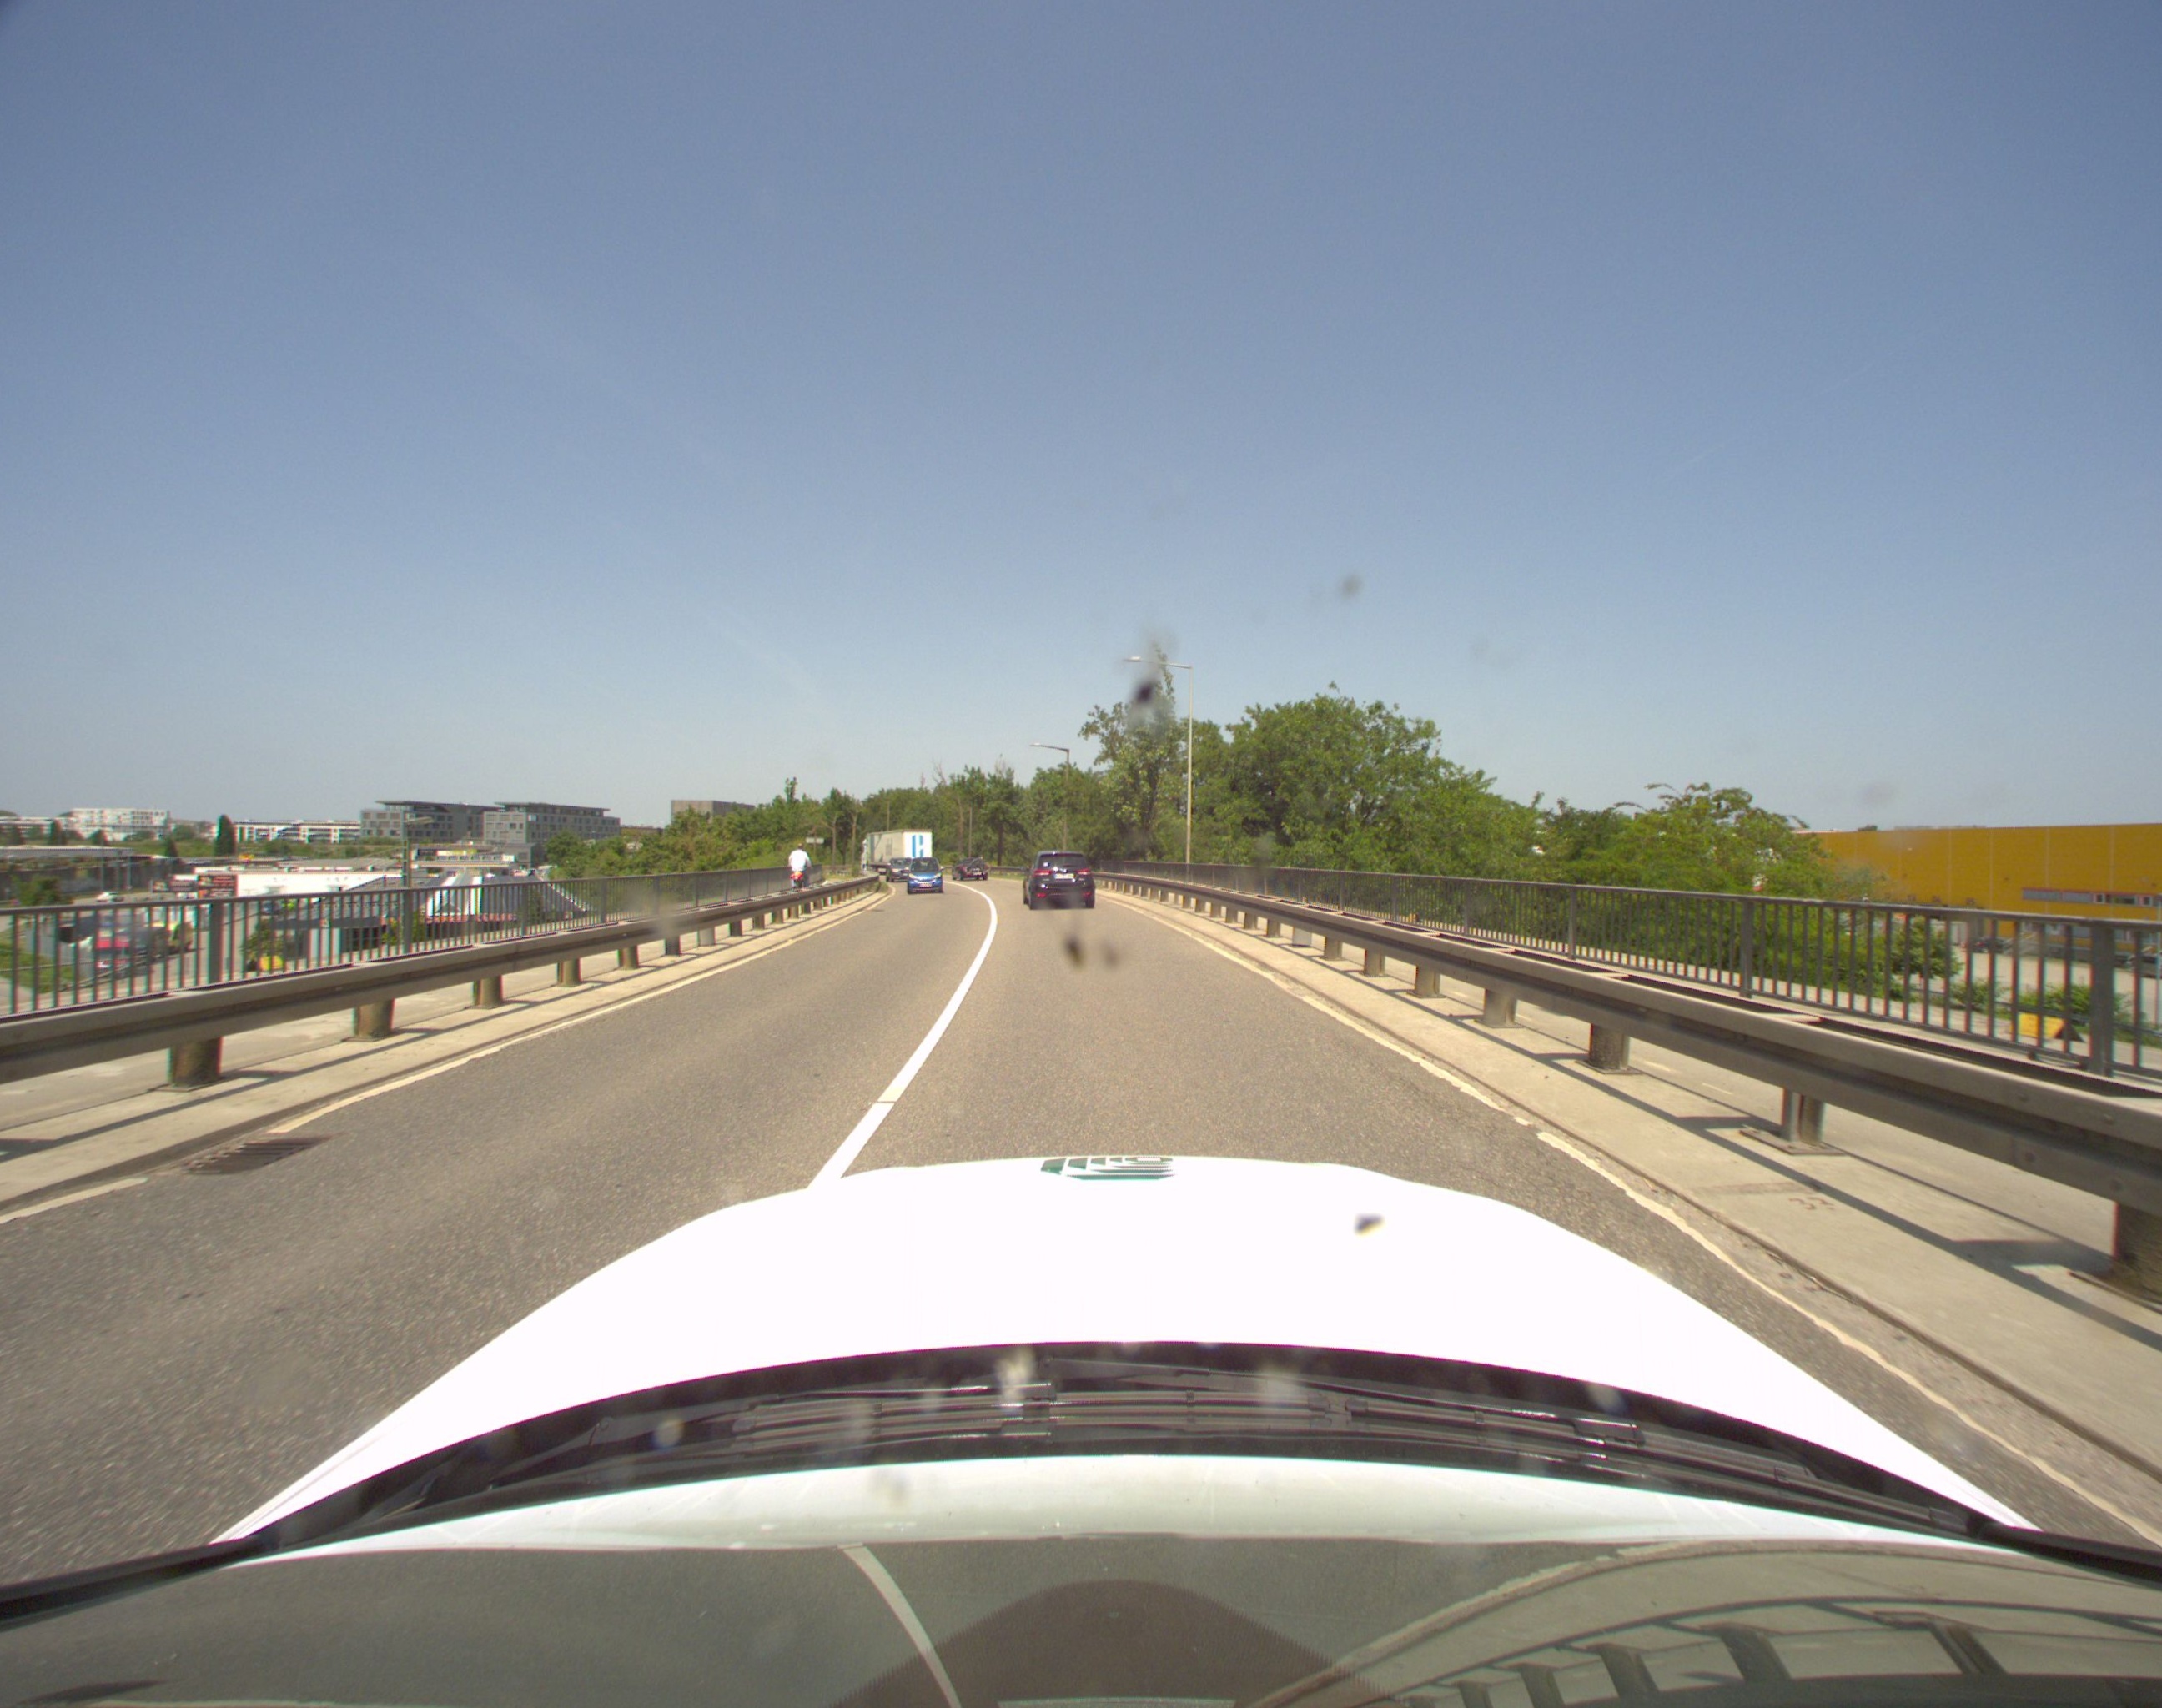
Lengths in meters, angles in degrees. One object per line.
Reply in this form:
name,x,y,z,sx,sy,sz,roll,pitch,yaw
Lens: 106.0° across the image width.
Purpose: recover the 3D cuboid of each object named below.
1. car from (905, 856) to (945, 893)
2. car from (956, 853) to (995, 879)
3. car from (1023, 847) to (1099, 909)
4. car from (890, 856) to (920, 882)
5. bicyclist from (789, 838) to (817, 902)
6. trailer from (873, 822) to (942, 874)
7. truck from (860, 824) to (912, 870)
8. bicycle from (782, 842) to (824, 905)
car,-6.752,0.844,35.049,1.599,1.486,2.736,-1,1,-13
car,-6.651,0.721,51.080,2.014,1.429,3.759,-1,1,-14
car,-0.649,0.605,23.125,1.918,1.574,3.885,-1,1,-5
car,-11.412,0.919,52.817,1.824,1.537,4.178,-1,1,-12
bicyclist,-8.338,0.475,24.455,0.623,1.886,0.710,-1,1,-8
trailer,-16.128,-0.624,74.822,3.588,4.383,11.344,-1,1,-26
truck,-19.607,-0.745,81.647,3.592,4.440,6.458,-1,1,-27
bicycle,-8.322,0.540,24.484,0.697,1.801,2.176,-1,1,-6
